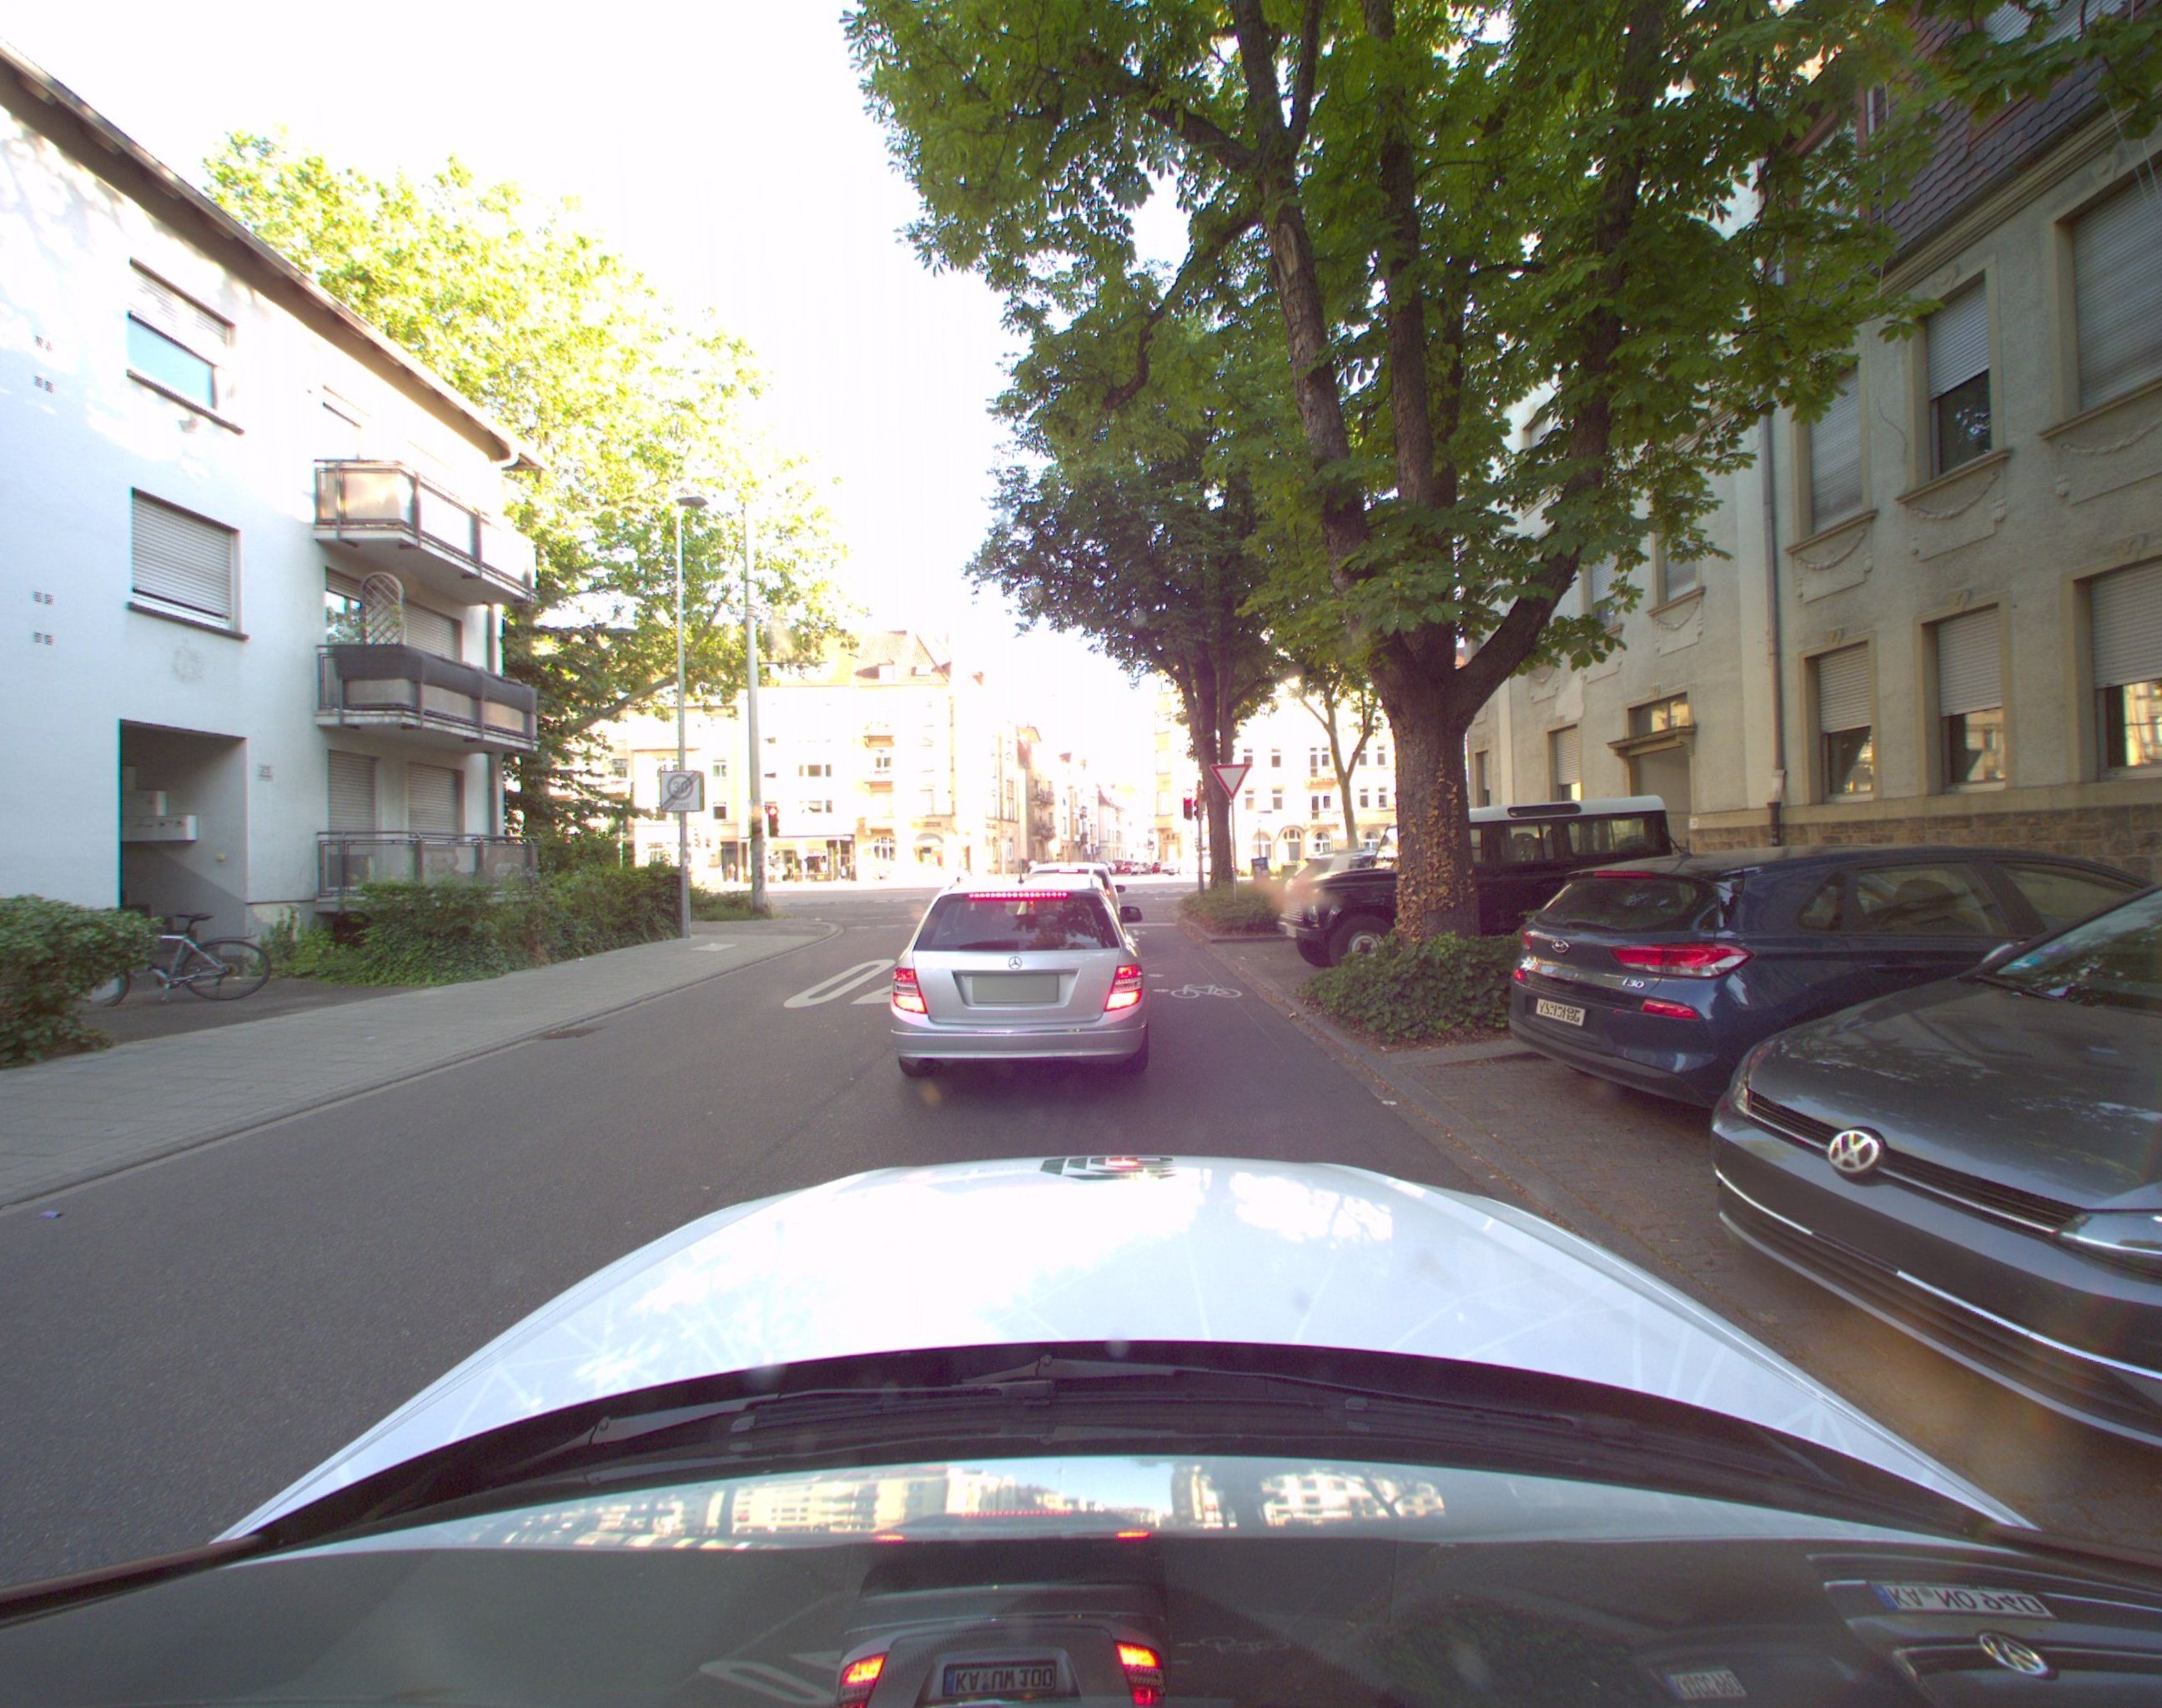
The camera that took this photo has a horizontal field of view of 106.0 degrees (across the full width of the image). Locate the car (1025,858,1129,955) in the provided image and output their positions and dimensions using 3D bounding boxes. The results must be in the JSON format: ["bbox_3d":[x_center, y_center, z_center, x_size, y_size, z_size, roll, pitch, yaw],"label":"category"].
[{"bbox_3d":[-0.050,0.786,13.865,1.528,1.391,3.599,-1,0,0],"label":"car"}]

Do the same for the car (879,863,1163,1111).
[{"bbox_3d":[-0.375,0.811,6.601,1.685,1.429,3.491,0,0,-1],"label":"car"}]

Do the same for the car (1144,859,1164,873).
[{"bbox_3d":[9.176,1.457,102.040,1.709,1.478,4.016,-6,-1,14],"label":"car"}]

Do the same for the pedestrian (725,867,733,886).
[{"bbox_3d":[-27.869,1.754,64.456,0.511,1.511,0.532,-1,0,-26],"label":"pedestrian"}]

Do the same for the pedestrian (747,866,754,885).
[{"bbox_3d":[-26.211,1.726,64.578,0.474,1.511,0.428,-1,0,-18],"label":"pedestrian"}]

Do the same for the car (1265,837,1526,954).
[{"bbox_3d":[4.936,0.613,13.071,3.475,1.586,1.708,-3,0,-5],"label":"car"}]

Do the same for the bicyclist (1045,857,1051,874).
[{"bbox_3d":[-2.986,0.999,73.761,0.465,1.521,0.693,-1,0,-2],"label":"bicyclist"}]

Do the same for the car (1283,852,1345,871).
[{"bbox_3d":[14.228,0.464,49.795,3.352,1.069,1.380,-2,0,0],"label":"car"}]

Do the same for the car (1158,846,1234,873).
[{"bbox_3d":[7.119,0.320,50.502,4.295,1.461,1.777,-2,1,-16],"label":"car"}]

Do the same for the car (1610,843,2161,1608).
[{"bbox_3d":[4.084,0.663,2.341,4.037,1.422,1.627,-3,-1,-2],"label":"car"}]

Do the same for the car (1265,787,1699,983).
[{"bbox_3d":[4.791,0.351,10.190,4.478,1.956,1.792,-3,0,-1],"label":"car"}]

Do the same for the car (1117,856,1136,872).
[{"bbox_3d":[5.951,1.291,105.552,1.926,1.958,4.161,-2,0,10],"label":"car"}]

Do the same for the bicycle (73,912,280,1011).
[{"bbox_3d":[-10.006,1.162,9.078,1.469,0.975,0.402,1,-2,-38],"label":"bicycle"}]

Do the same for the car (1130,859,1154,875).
[{"bbox_3d":[6.479,1.314,85.894,1.708,1.478,4.016,-3,0,14],"label":"car"}]

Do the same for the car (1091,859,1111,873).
[{"bbox_3d":[2.533,1.530,102.548,1.639,1.783,3.876,-1,-1,13],"label":"car"}]

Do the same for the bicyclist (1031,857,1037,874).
[{"bbox_3d":[-4.282,1.034,73.636,0.465,1.514,0.655,-1,0,-2],"label":"bicyclist"}]

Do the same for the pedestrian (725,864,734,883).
[{"bbox_3d":[-27.507,1.514,63.759,0.566,1.511,0.499,-1,0,-17],"label":"pedestrian"}]

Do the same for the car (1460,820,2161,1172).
[{"bbox_3d":[4.411,0.618,4.606,3.743,1.422,1.626,-3,-1,-5],"label":"car"}]

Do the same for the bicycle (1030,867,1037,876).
[{"bbox_3d":[-4.274,1.584,73.764,0.567,0.834,1.565,-2,0,-1],"label":"bicycle"}]

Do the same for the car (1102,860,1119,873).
[{"bbox_3d":[3.969,1.668,108.813,1.639,1.604,3.877,-1,-1,13],"label":"car"}]

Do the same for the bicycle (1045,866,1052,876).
[{"bbox_3d":[-2.969,1.539,73.601,0.567,0.834,1.565,-2,0,-1],"label":"bicycle"}]
